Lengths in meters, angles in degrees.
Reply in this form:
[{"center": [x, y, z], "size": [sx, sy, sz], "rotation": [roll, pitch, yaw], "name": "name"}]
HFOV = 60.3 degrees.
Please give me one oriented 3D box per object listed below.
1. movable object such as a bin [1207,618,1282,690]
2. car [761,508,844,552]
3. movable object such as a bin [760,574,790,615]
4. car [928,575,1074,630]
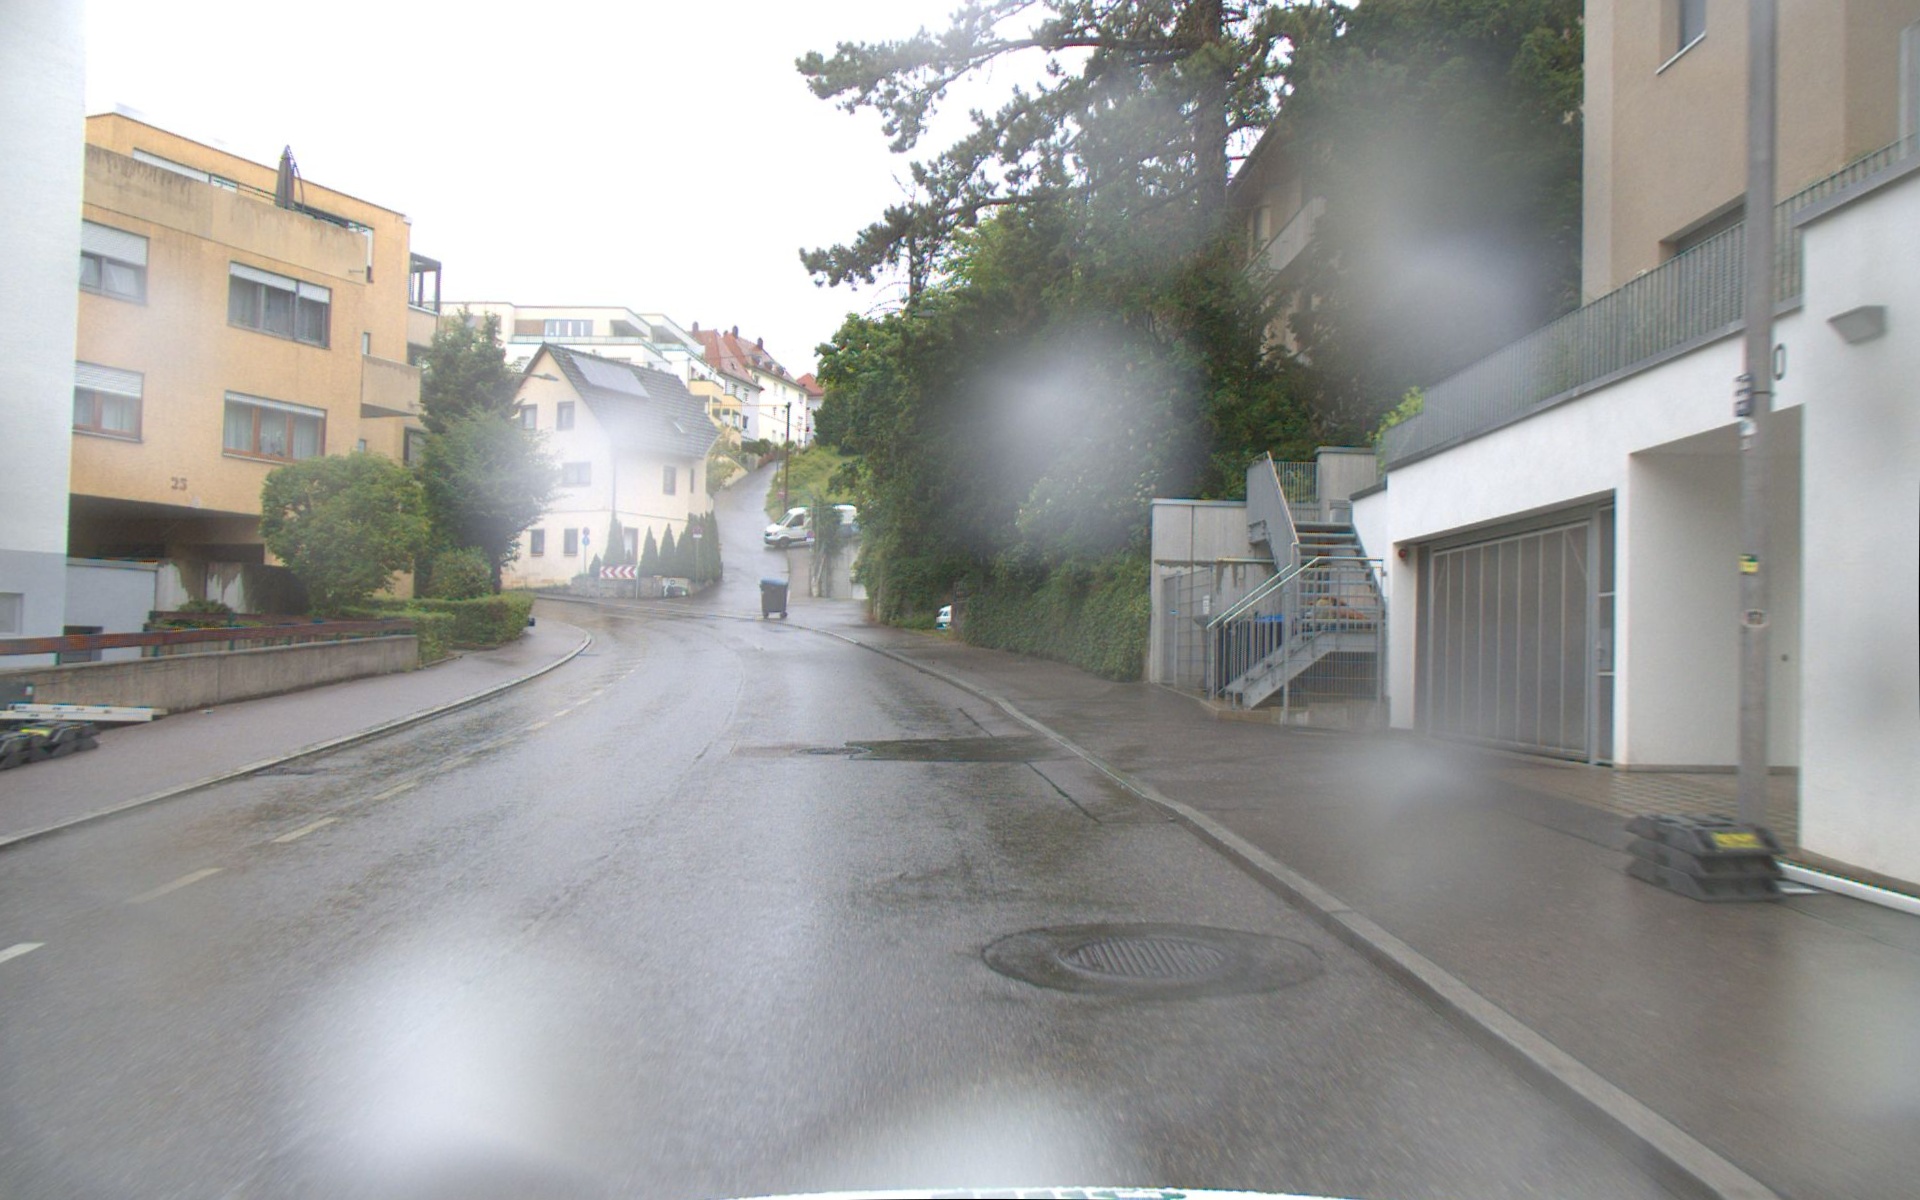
[{"center": [3.957, 0.745, 23.038], "size": [0.857, 0.957, 0.745], "rotation": [0, 0, -7], "name": "movable object such as a bin"}, {"center": [-9.802, -4.372, 102.866], "size": [4.857, 2.614, 1.898], "rotation": [-2, 1, -13], "name": "car"}, {"center": [-6.904, -0.221, 61.702], "size": [1.061, 1.467, 1.456], "rotation": [2, 1, -6], "name": "movable object such as a bin"}, {"center": [1.201, 0.059, 49.324], "size": [4.067, 1.502, 1.901], "rotation": [-1, 1, -9], "name": "car"}]
